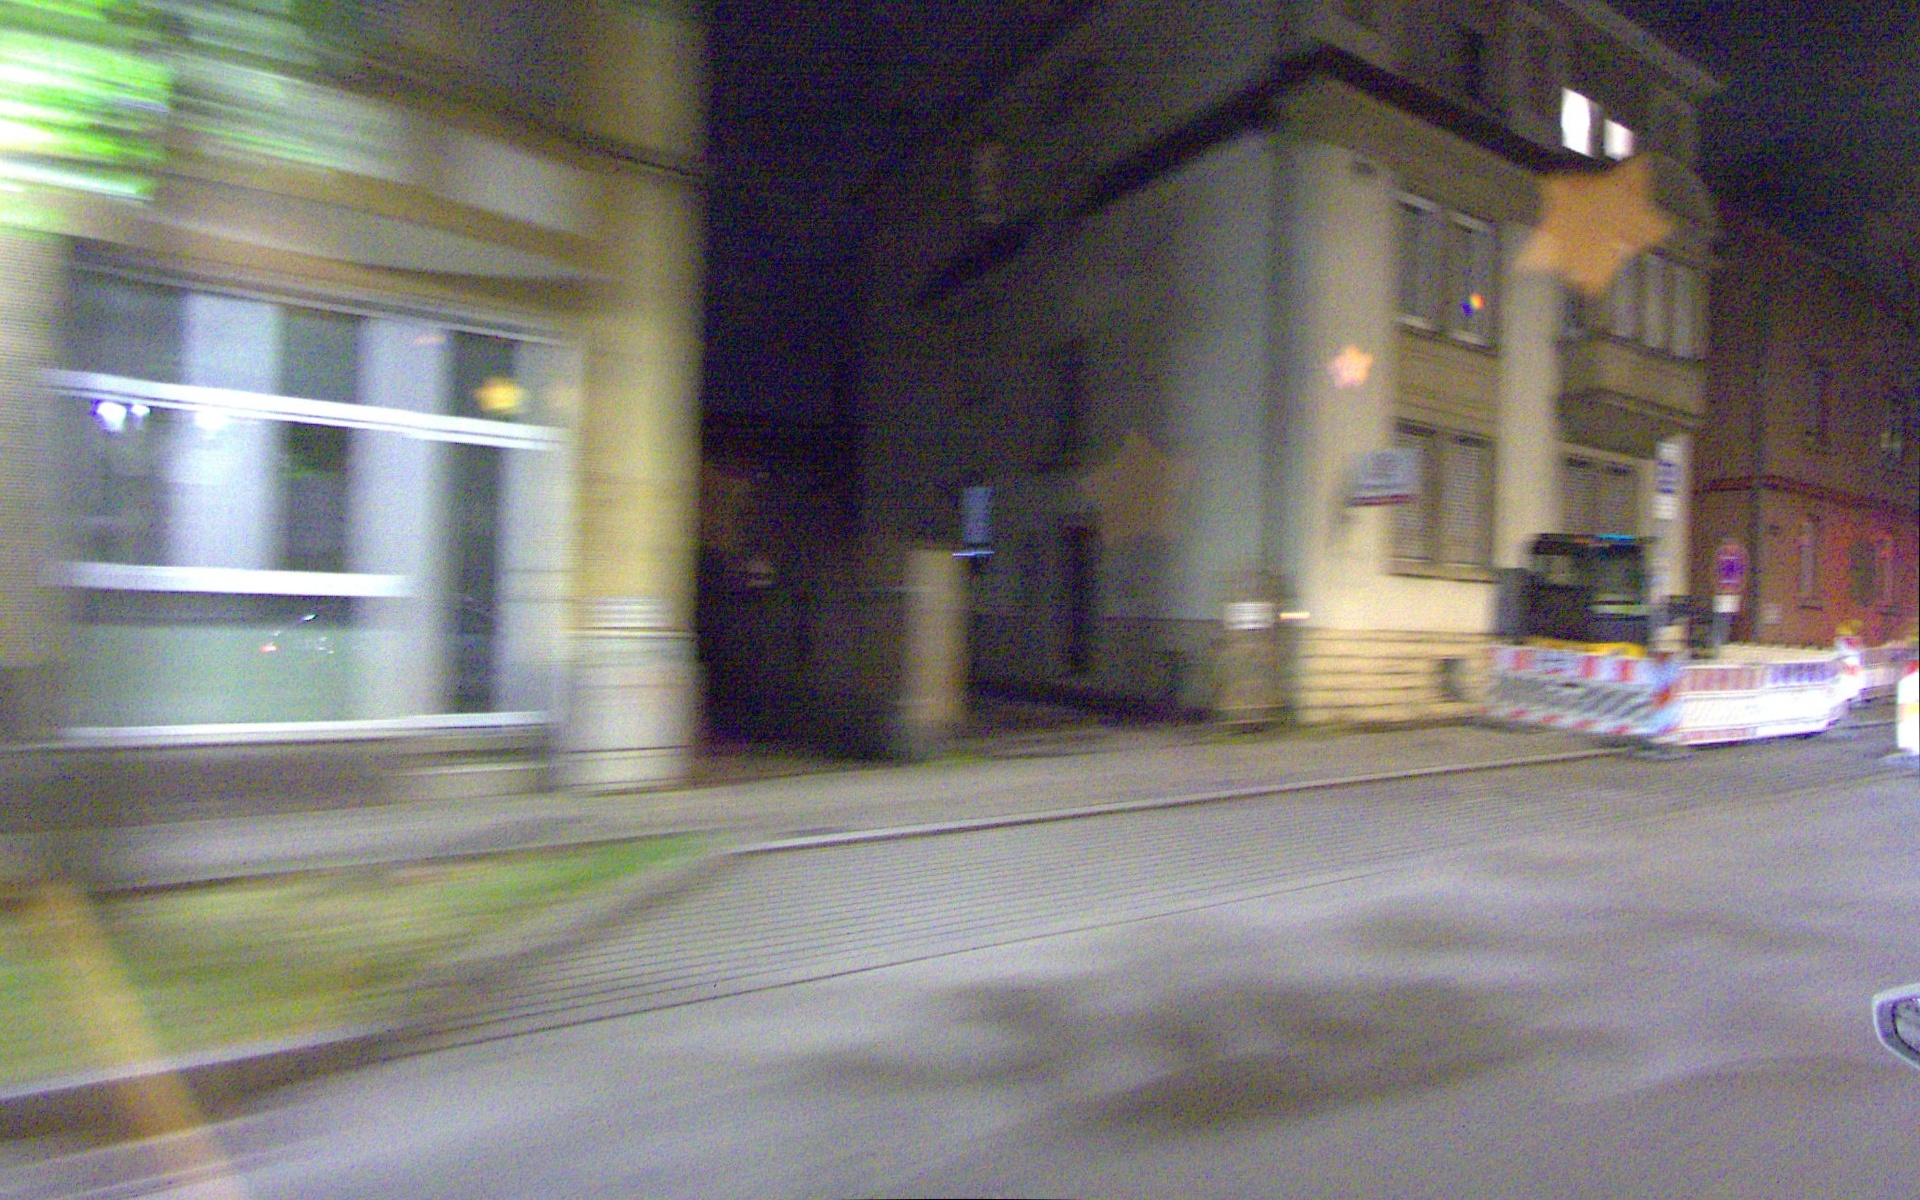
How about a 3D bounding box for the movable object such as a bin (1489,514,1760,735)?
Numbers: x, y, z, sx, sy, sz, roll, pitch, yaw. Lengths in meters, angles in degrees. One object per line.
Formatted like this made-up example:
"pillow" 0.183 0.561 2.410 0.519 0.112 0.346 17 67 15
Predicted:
"movable object such as a bin" 9.140 0.336 13.747 3.863 2.661 1.564 1 -1 -30
